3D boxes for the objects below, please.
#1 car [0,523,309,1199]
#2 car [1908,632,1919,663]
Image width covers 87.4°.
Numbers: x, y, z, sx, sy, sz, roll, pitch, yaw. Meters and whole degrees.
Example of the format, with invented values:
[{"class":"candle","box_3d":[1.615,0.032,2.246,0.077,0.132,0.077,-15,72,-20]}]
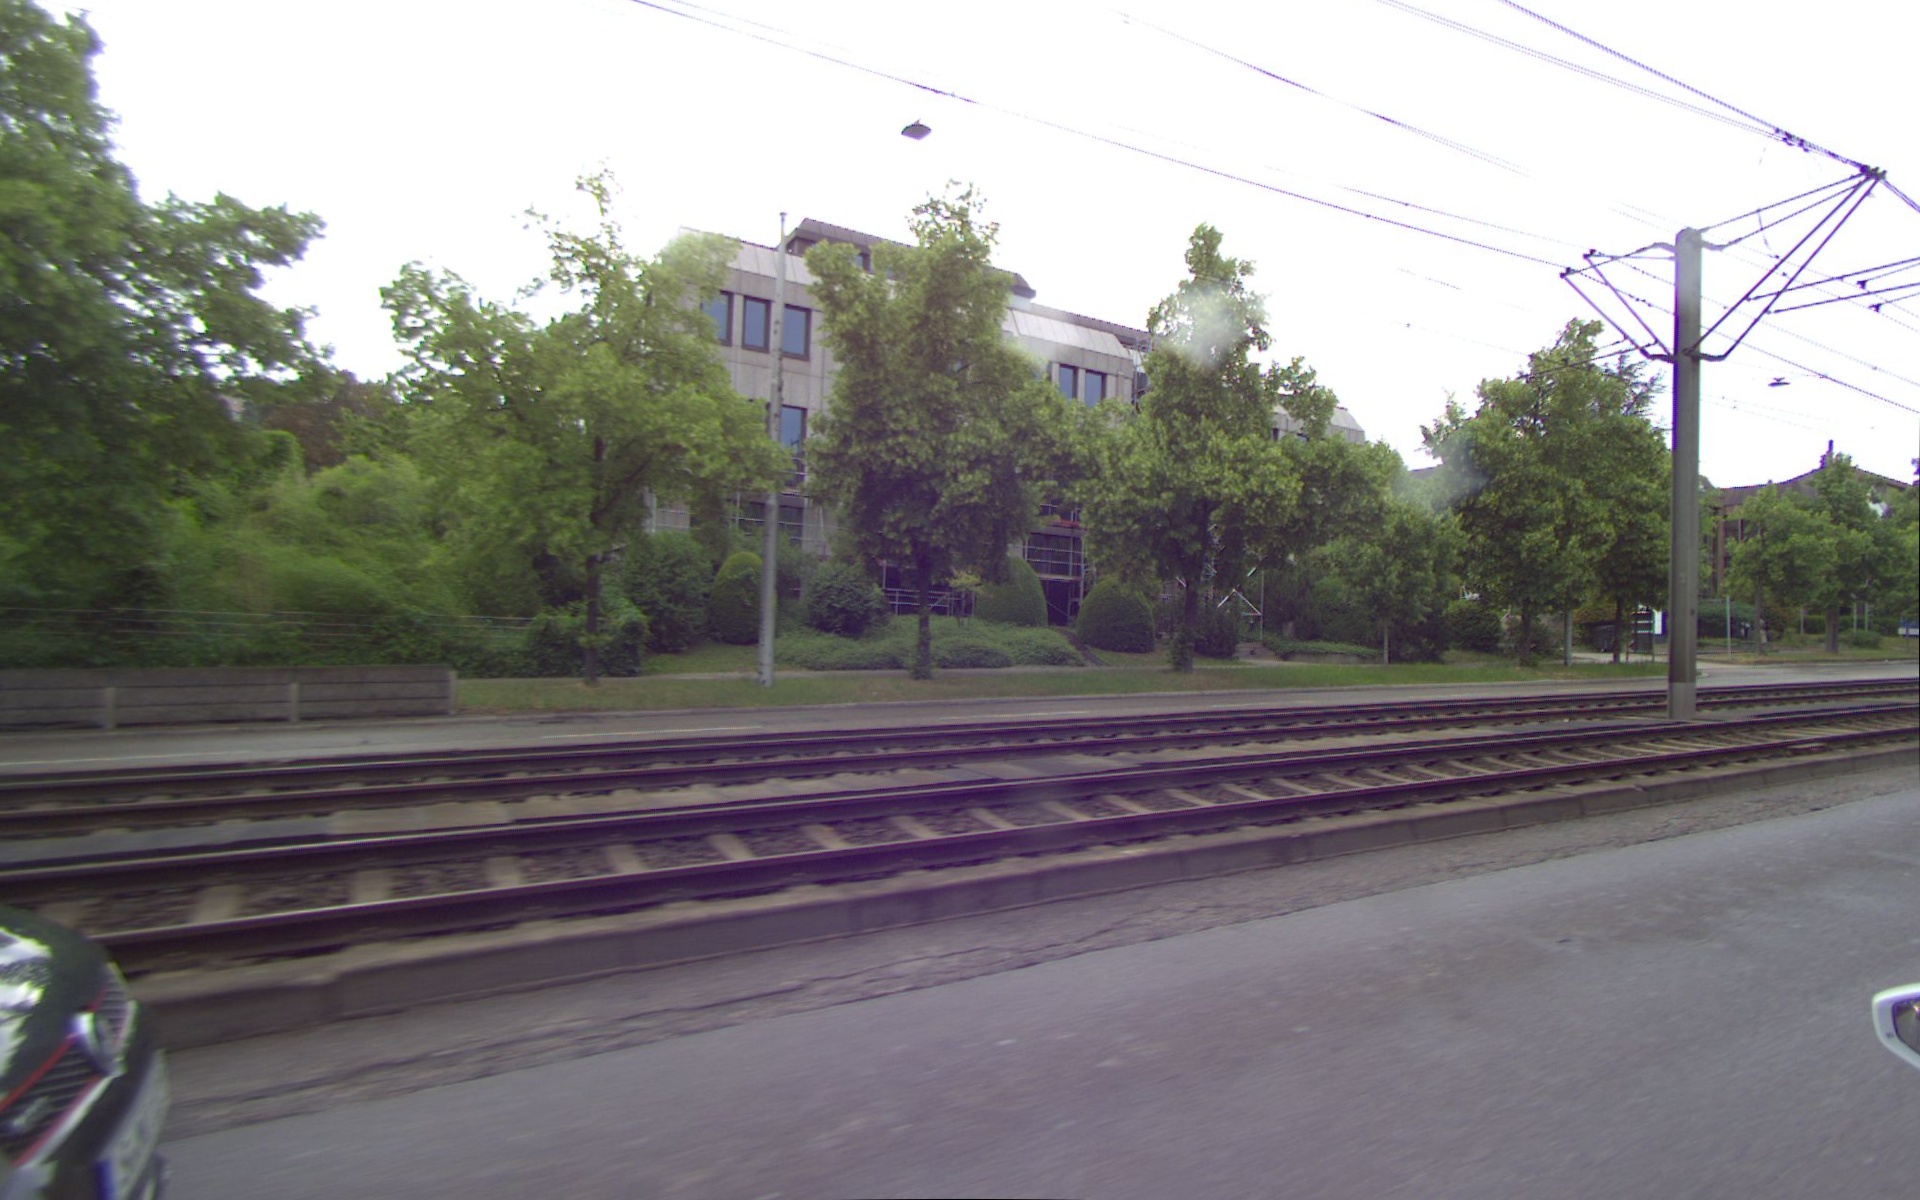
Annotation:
[{"class":"car","box_3d":[-3.091,0.651,1.083,3.920,1.505,1.785,1,-2,-32]},{"class":"car","box_3d":[51.153,2.477,52.117,4.570,1.550,1.785,1,-1,-32]}]
